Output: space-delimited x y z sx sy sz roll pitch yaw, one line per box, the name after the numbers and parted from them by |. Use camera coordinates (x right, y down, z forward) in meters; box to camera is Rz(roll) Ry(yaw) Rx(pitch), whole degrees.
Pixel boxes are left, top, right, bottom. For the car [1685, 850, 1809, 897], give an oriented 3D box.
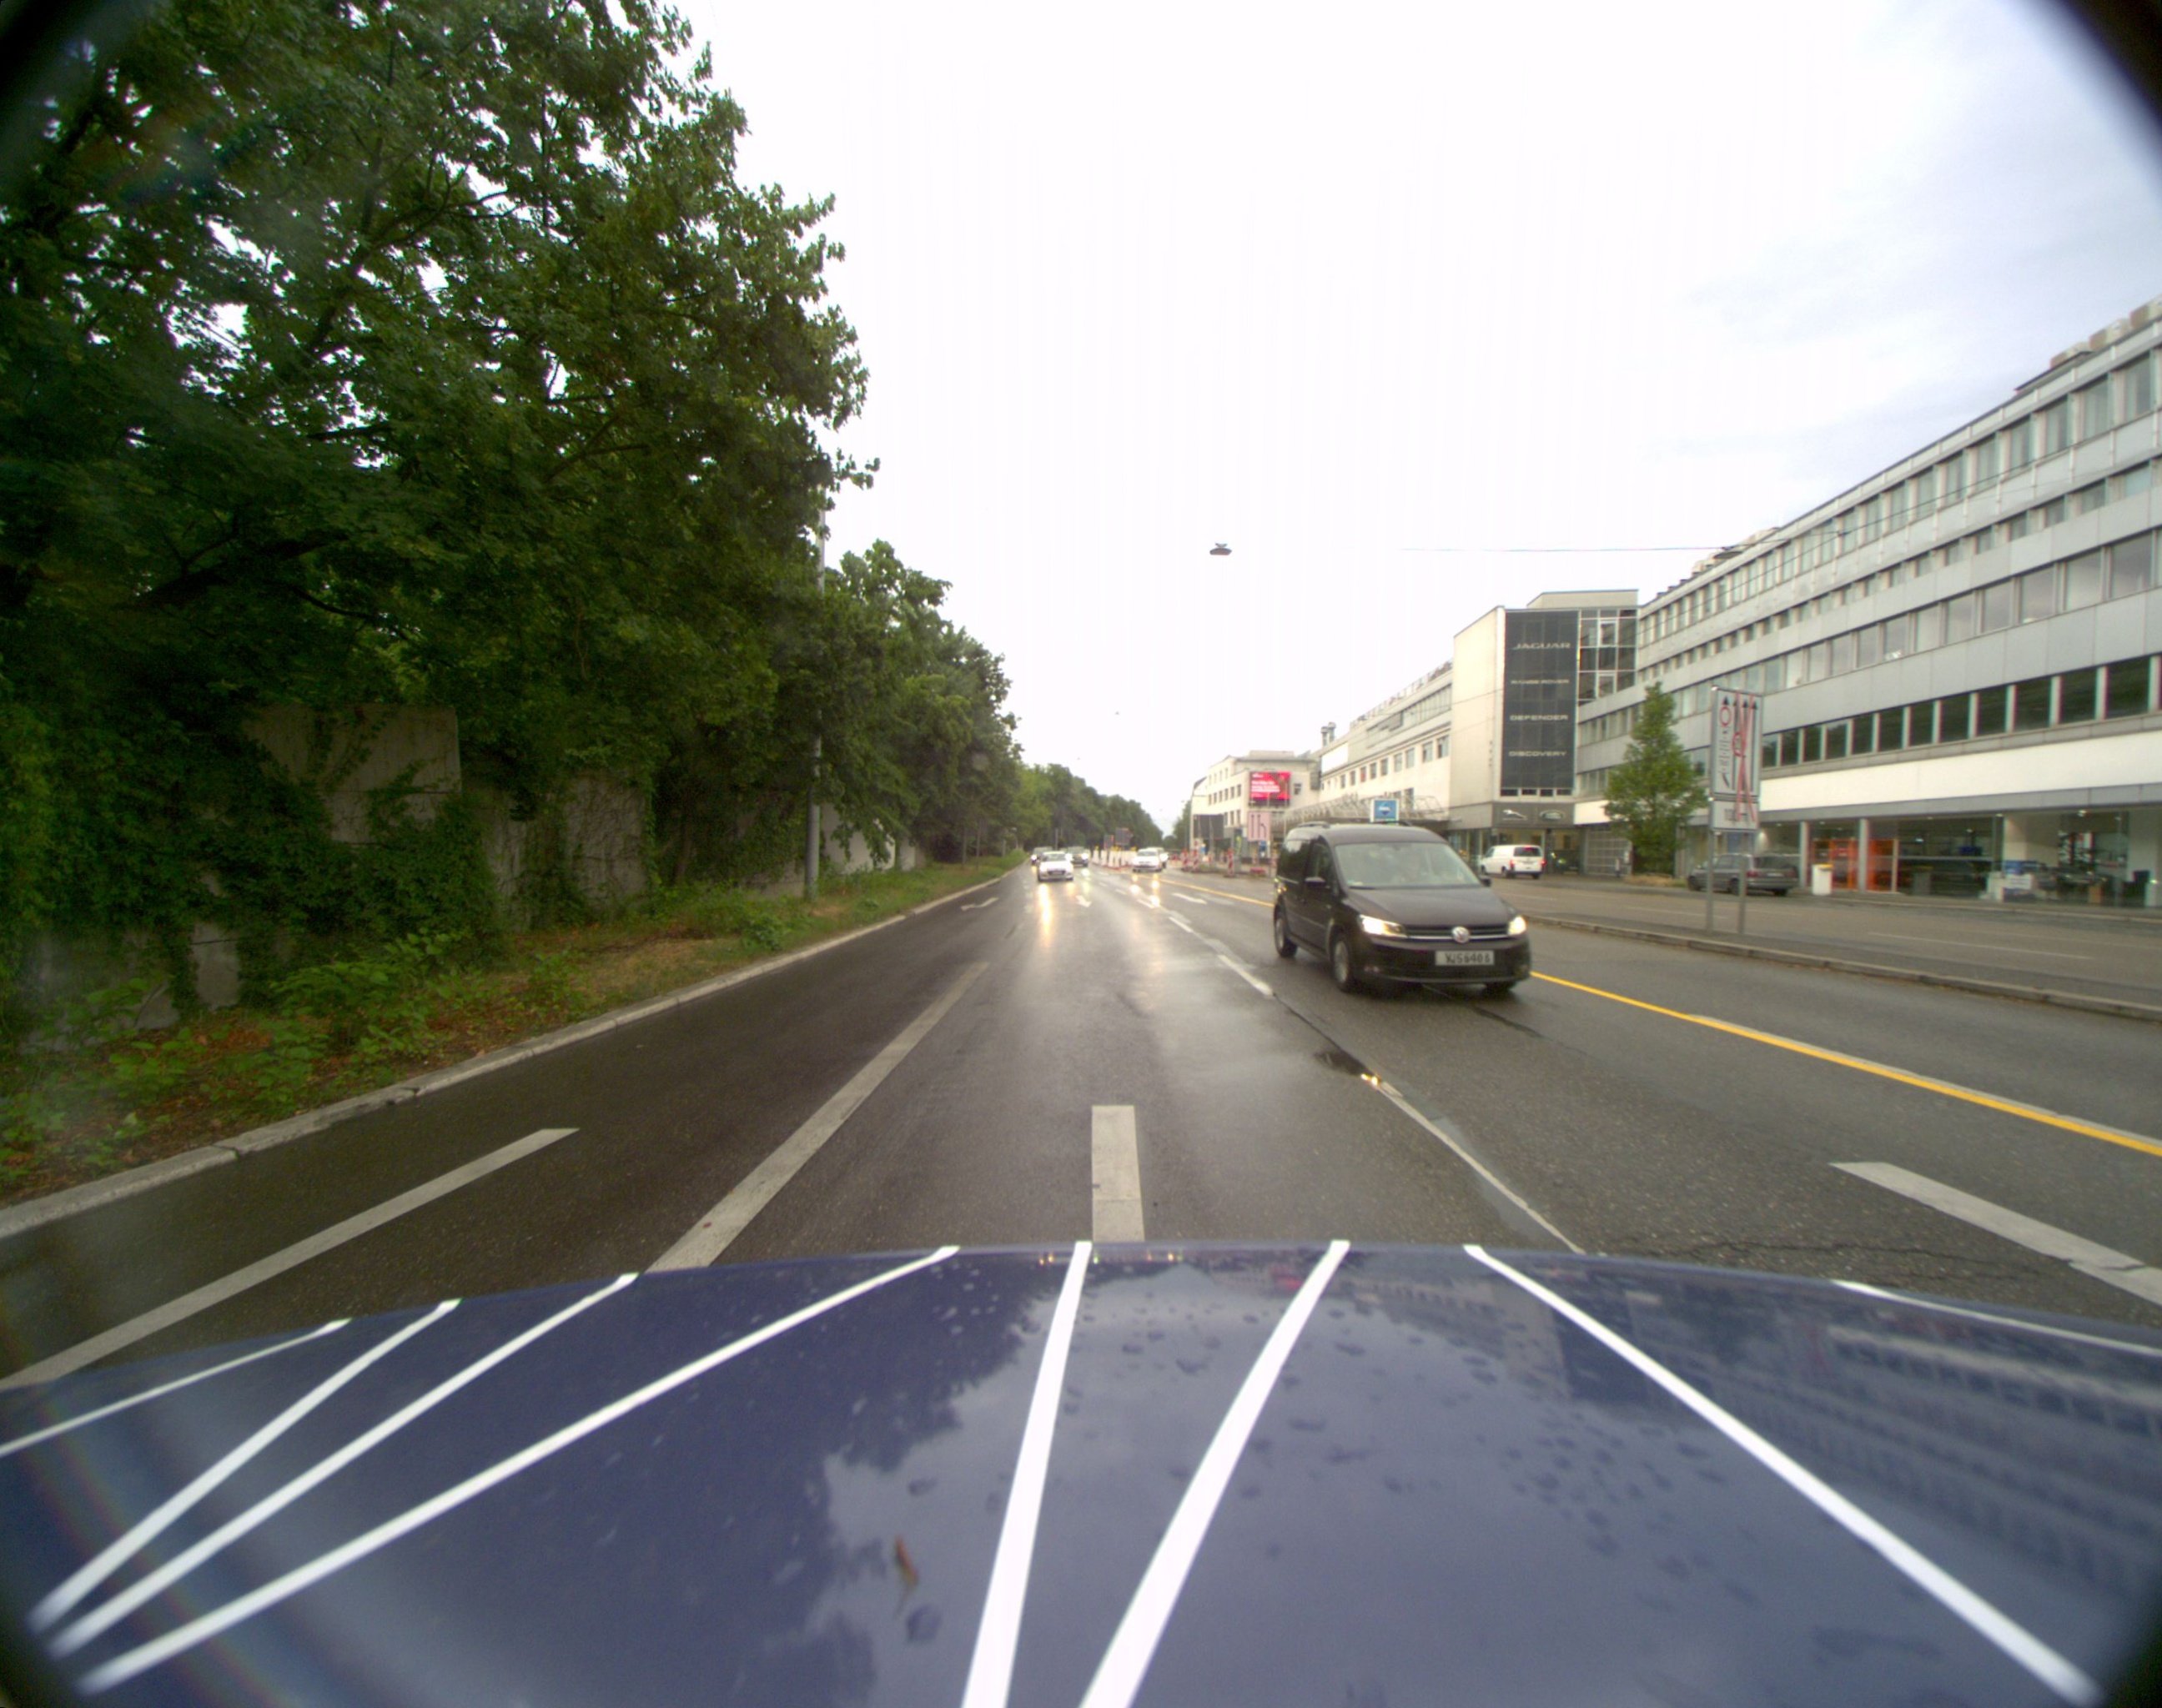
28.302 0.776 32.489 1.922 1.805 4.166 -2 1 6 | car

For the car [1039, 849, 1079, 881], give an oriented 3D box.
-1.082 0.526 39.601 1.814 1.444 4.333 -2 1 2 | car

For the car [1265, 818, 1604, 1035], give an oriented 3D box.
3.571 0.601 8.747 1.905 1.804 4.430 -2 1 2 | car

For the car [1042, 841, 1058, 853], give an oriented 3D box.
-4.291 -0.982 104.684 1.814 1.590 4.333 -2 1 2 | car

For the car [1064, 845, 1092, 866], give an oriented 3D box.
-0.290 0.078 62.468 1.815 1.590 4.330 -2 1 -5 | car

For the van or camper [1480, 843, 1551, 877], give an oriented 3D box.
25.670 0.315 45.055 1.939 1.913 4.686 0 1 7 | van or camper

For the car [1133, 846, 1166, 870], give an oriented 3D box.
4.542 0.252 49.721 1.770 1.407 4.336 -2 1 9 | car

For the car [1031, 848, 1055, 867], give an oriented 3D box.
-3.443 0.302 69.812 1.814 1.590 4.333 -2 1 2 | car

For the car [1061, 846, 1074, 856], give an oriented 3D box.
-2.197 -0.528 125.262 1.814 1.590 4.333 -2 1 2 | car

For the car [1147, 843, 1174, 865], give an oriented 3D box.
6.234 -0.017 59.957 1.771 1.608 3.949 -2 1 2 | car
